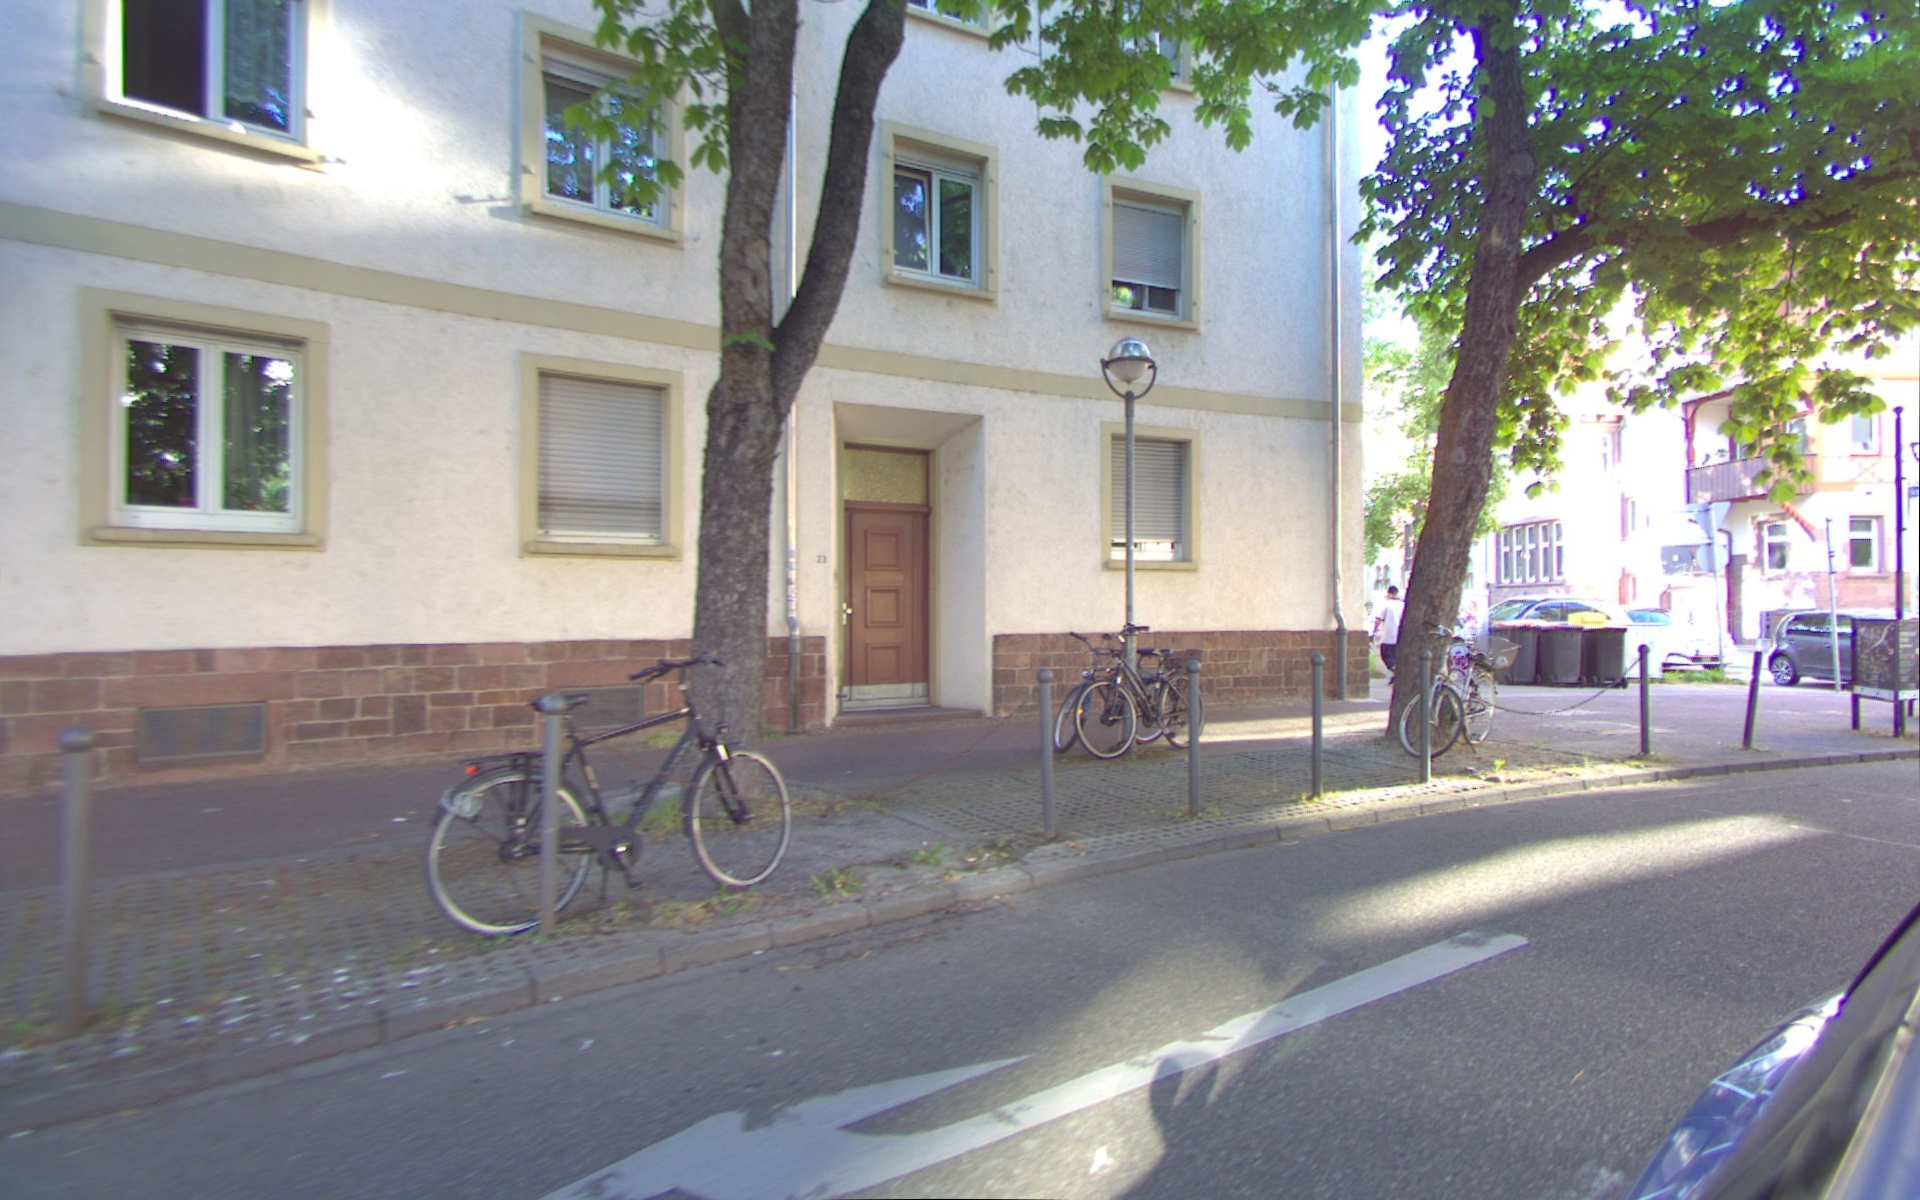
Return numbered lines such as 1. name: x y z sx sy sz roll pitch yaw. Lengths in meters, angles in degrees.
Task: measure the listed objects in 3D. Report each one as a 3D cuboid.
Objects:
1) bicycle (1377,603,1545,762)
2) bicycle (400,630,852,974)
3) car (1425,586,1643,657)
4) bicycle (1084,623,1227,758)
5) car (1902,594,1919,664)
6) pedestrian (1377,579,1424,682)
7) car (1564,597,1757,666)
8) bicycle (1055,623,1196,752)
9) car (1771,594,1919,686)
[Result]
1. bicycle: 4.680 0.692 9.400 1.870 1.321 0.766 0 -1 -42
2. bicycle: -1.475 0.786 4.720 1.882 1.238 0.718 0 -1 -43
3. car: 12.330 0.452 21.884 3.730 1.443 1.677 -1 -1 -3
4. bicycle: 1.813 0.783 9.236 1.607 1.108 0.334 0 -1 -40
5. car: 21.947 0.647 21.128 1.463 1.559 3.217 0 0 -3
6. pedestrian: 7.151 0.467 16.454 0.634 1.612 0.938 0 0 21
7. car: 17.286 0.745 25.271 1.771 1.572 4.187 0 -1 -2
8. bicycle: 1.581 0.780 9.517 1.607 1.108 0.334 0 -1 -40
9. car: 17.199 0.695 18.306 1.663 1.572 4.053 0 -1 -2
